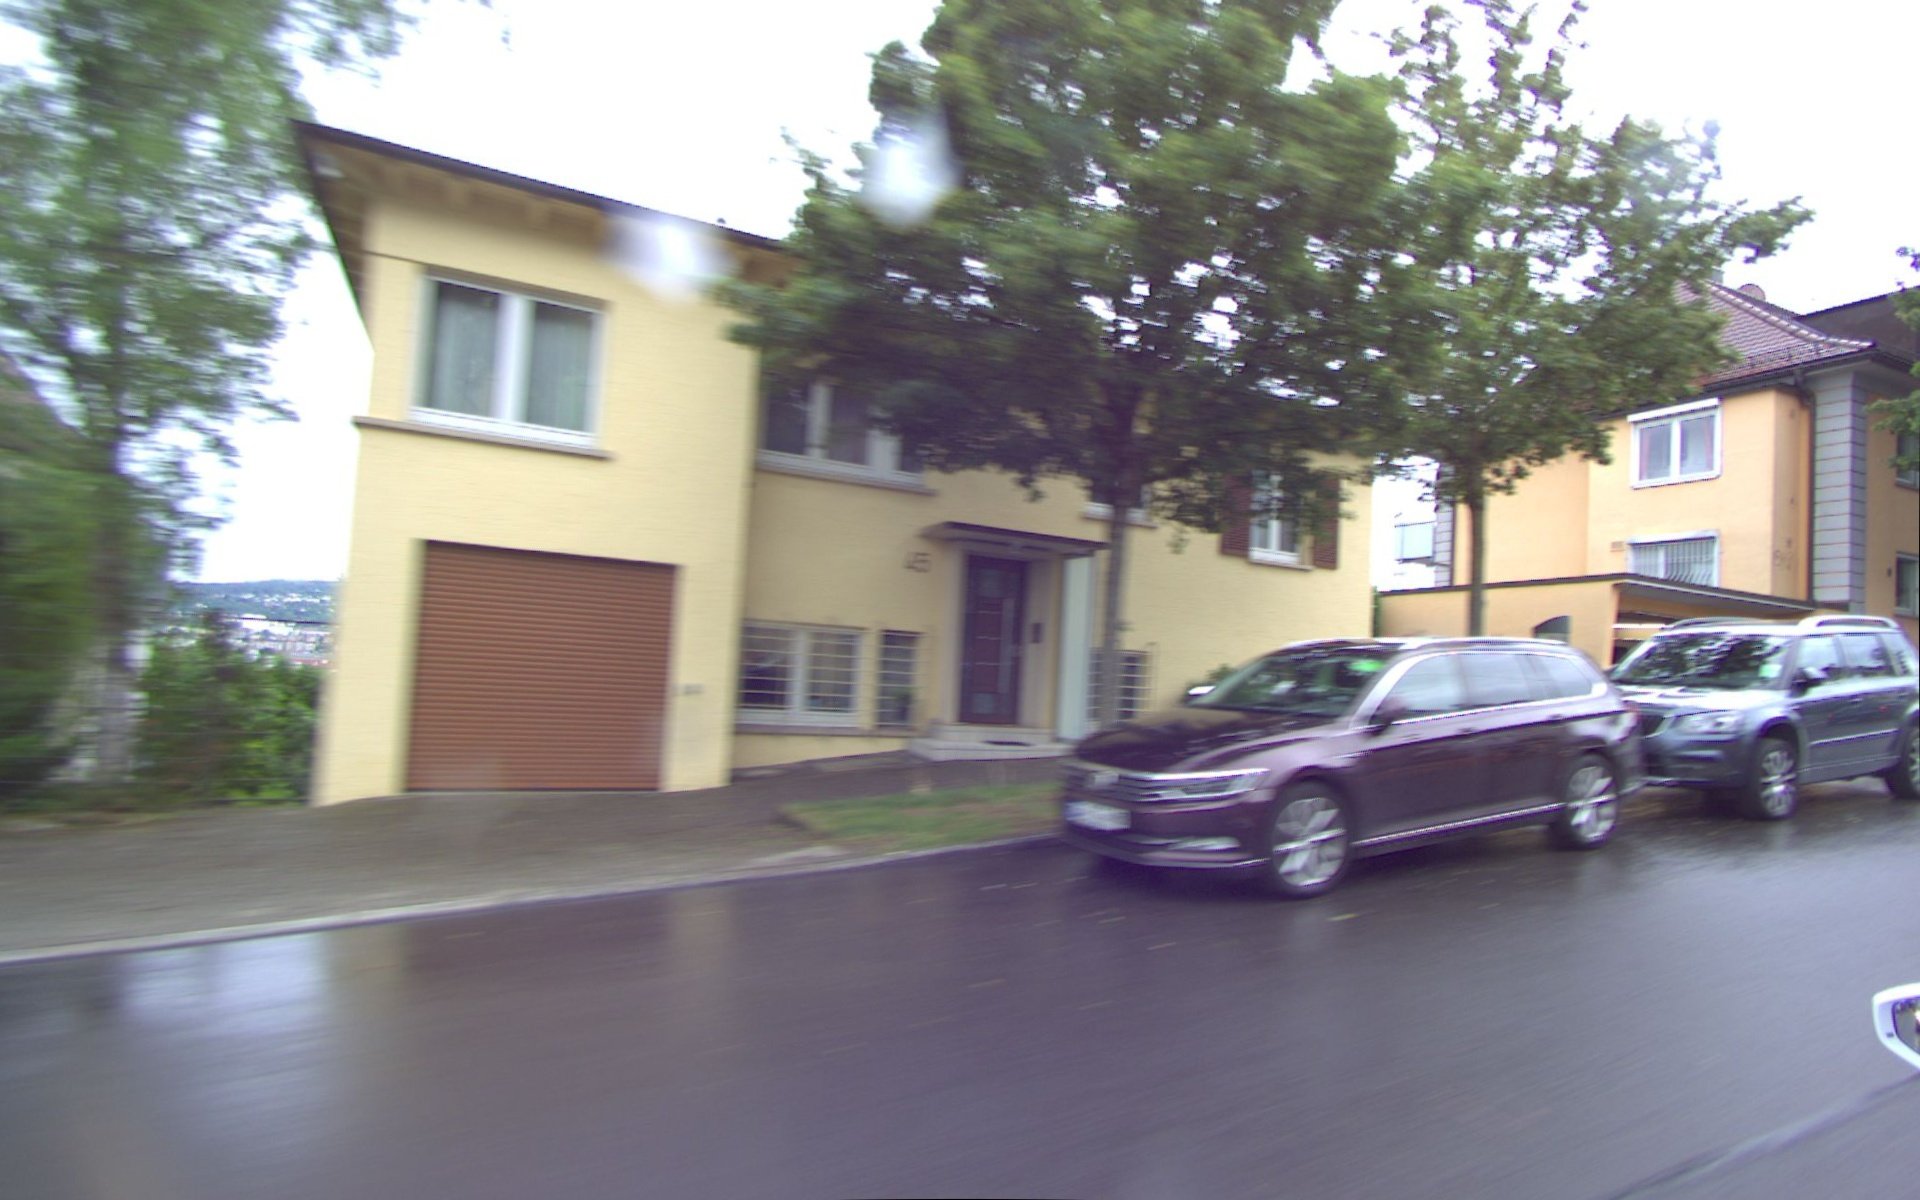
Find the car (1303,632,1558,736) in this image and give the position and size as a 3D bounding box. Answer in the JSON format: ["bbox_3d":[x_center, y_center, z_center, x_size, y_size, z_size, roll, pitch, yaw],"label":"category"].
[{"bbox_3d":[8.468,1.436,18.476,1.838,1.667,4.042,2,-2,-24],"label":"car"}]

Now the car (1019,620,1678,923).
[{"bbox_3d":[2.811,0.964,7.047,4.547,1.555,1.762,1,-3,-28],"label":"car"}]

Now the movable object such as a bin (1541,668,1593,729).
[{"bbox_3d":[10.950,1.770,18.126,0.578,1.037,0.584,1,-1,-28],"label":"movable object such as a bin"}]

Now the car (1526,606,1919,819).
[{"bbox_3d":[7.524,0.925,9.493,4.053,1.656,1.763,1,-2,-25],"label":"car"}]
